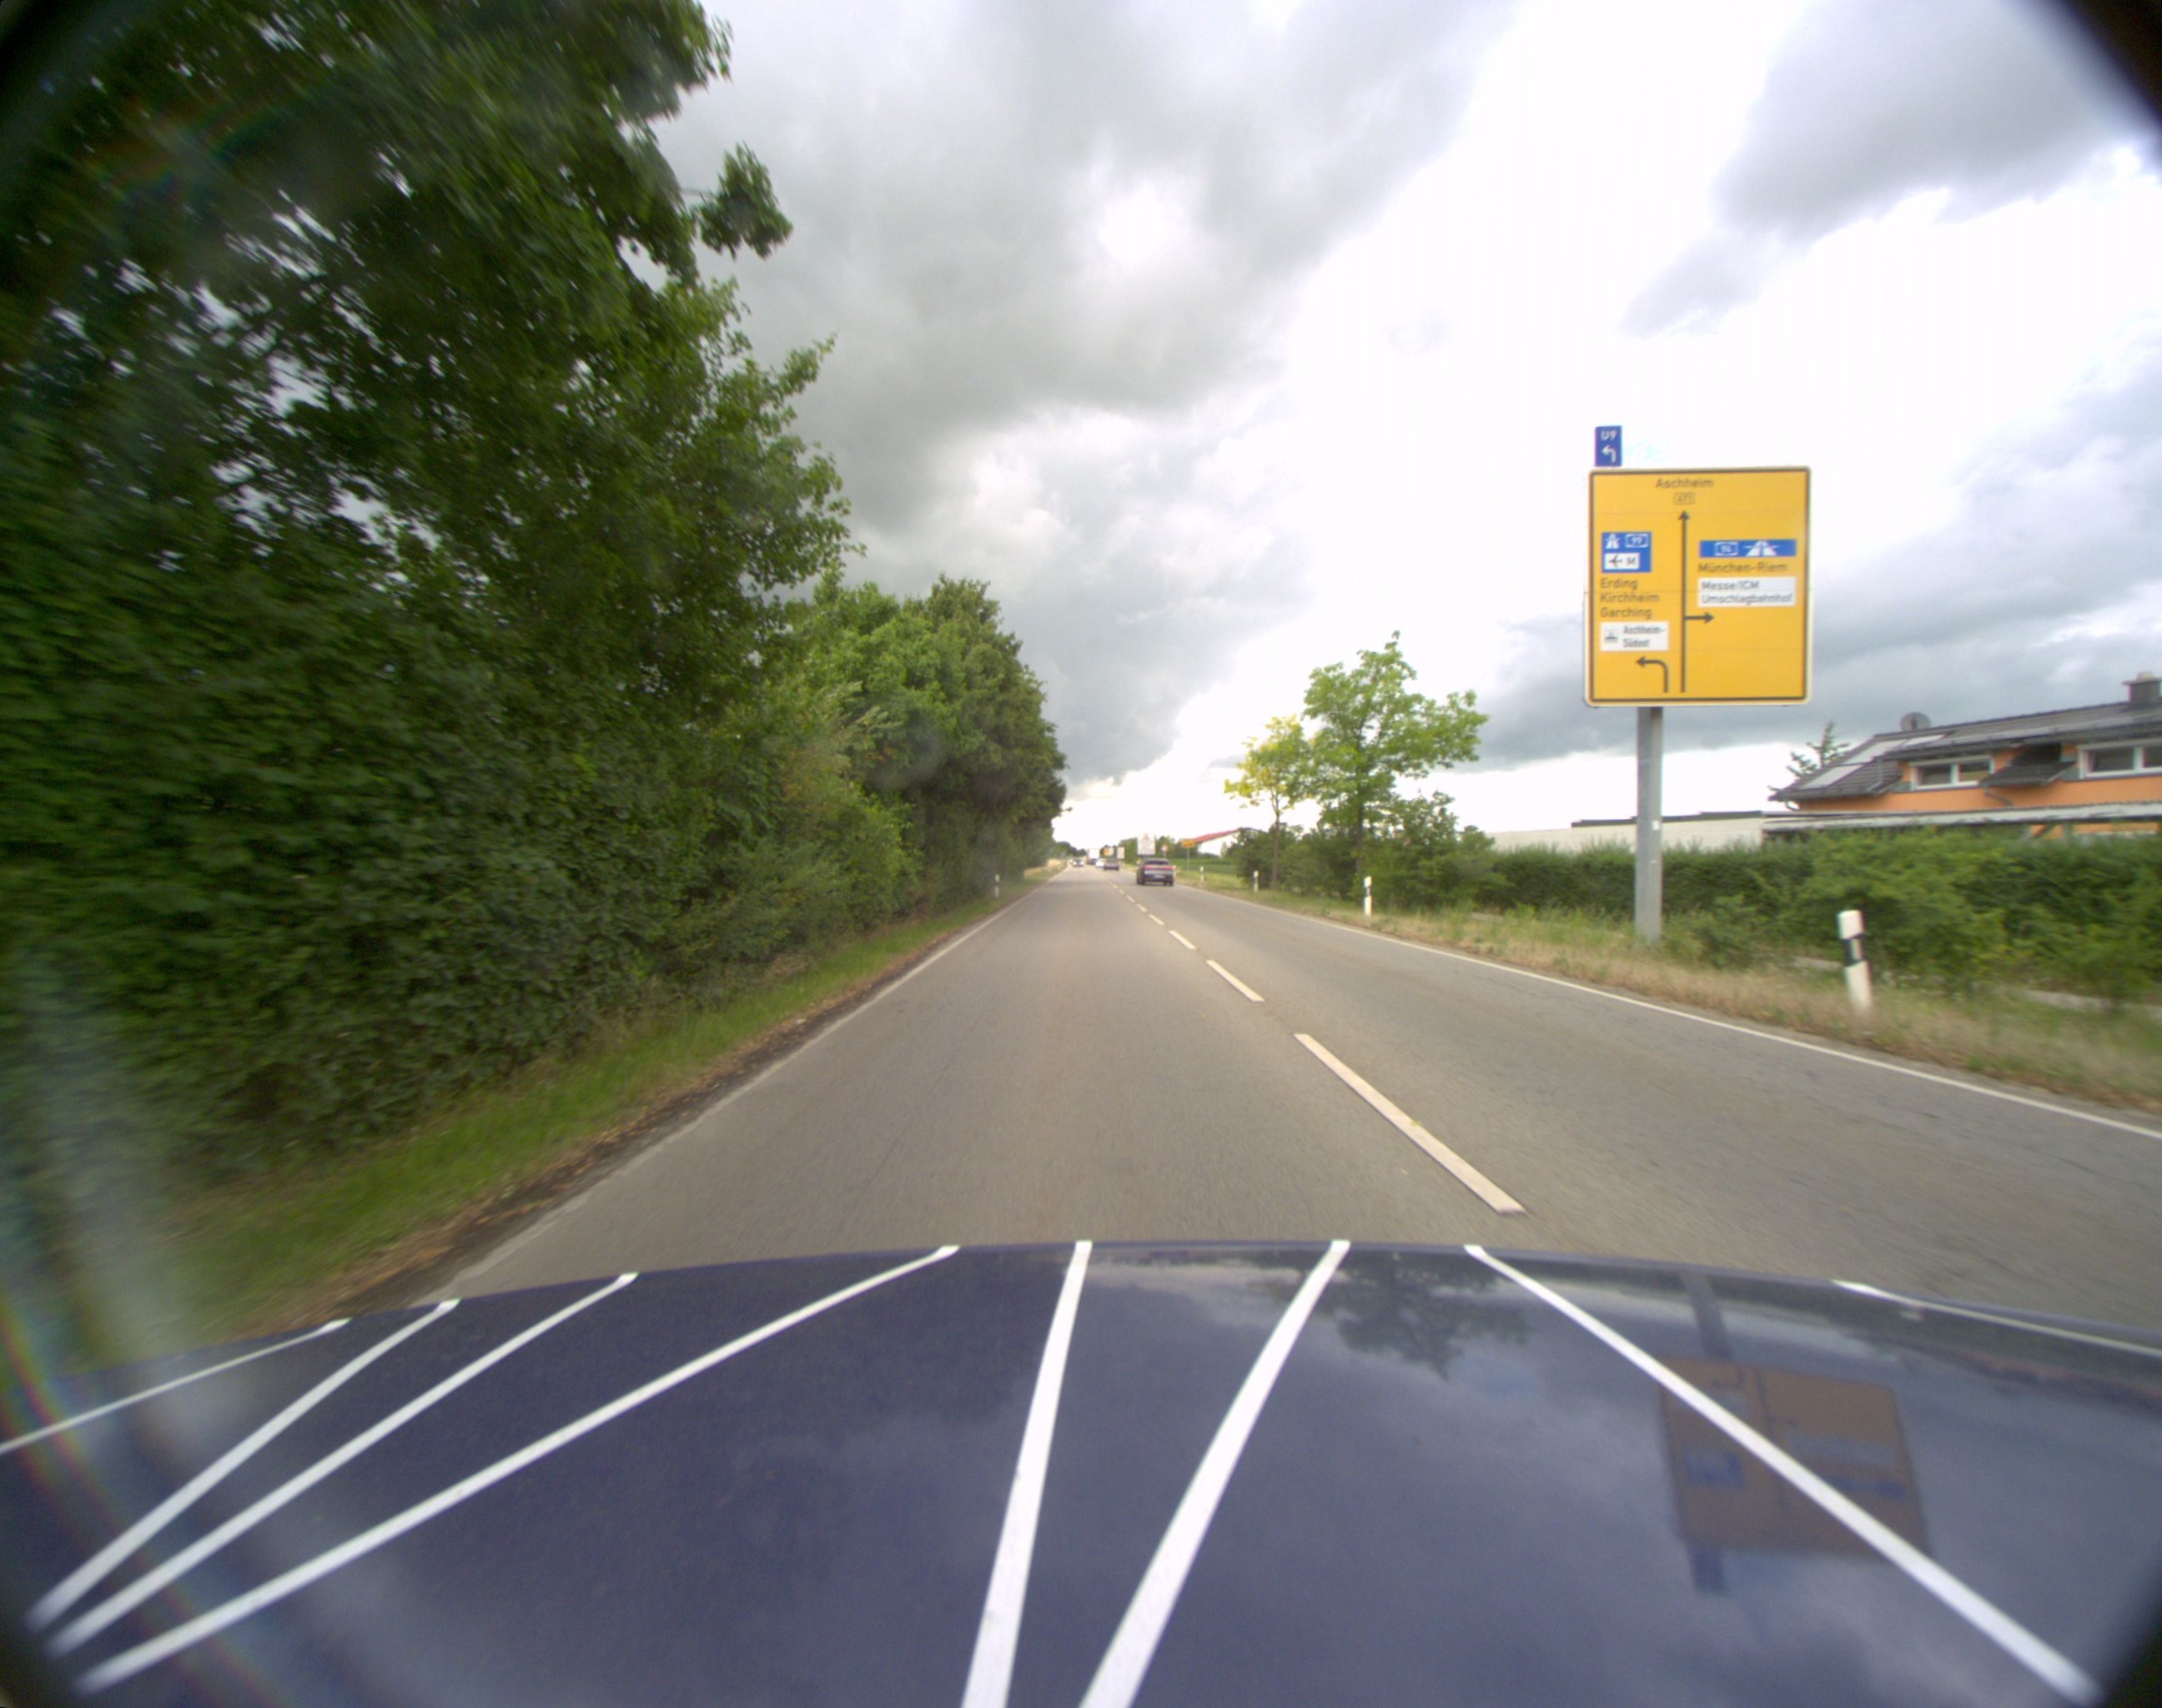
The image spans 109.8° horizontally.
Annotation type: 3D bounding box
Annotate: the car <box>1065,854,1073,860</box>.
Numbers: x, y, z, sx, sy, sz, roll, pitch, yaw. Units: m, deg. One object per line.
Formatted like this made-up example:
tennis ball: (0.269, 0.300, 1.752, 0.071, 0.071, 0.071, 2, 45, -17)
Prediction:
car: (-2.734, 0.745, 179.768, 1.777, 1.407, 4.079, 1, 0, 0)

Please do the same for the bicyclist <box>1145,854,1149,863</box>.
bicyclist: (10.963, 0.719, 126.287, 0.530, 1.575, 1.223, 1, 1, -1)

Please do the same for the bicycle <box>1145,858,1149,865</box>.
bicycle: (10.957, 1.189, 126.308, 0.530, 1.149, 1.794, 1, 0, -1)

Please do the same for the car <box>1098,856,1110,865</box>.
car: (3.664, 0.982, 123.222, 1.777, 1.365, 4.100, 1, 0, 0)

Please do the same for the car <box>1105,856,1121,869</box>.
car: (4.028, 1.058, 95.553, 1.857, 1.456, 4.370, 0, 0, 0)

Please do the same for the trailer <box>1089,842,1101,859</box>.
trailer: (3.455, -0.979, 192.922, 2.641, 4.096, 13.765, 0, 0, 0)

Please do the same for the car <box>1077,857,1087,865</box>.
car: (0.160, 1.259, 135.384, 1.869, 1.352, 3.826, 0, 0, 0)

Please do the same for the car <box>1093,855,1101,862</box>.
car: (3.490, 0.913, 170.541, 1.733, 1.577, 4.504, 0, 0, 0)

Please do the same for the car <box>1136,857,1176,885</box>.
car: (4.170, 0.908, 42.787, 1.820, 1.485, 4.203, 1, 0, 0)
